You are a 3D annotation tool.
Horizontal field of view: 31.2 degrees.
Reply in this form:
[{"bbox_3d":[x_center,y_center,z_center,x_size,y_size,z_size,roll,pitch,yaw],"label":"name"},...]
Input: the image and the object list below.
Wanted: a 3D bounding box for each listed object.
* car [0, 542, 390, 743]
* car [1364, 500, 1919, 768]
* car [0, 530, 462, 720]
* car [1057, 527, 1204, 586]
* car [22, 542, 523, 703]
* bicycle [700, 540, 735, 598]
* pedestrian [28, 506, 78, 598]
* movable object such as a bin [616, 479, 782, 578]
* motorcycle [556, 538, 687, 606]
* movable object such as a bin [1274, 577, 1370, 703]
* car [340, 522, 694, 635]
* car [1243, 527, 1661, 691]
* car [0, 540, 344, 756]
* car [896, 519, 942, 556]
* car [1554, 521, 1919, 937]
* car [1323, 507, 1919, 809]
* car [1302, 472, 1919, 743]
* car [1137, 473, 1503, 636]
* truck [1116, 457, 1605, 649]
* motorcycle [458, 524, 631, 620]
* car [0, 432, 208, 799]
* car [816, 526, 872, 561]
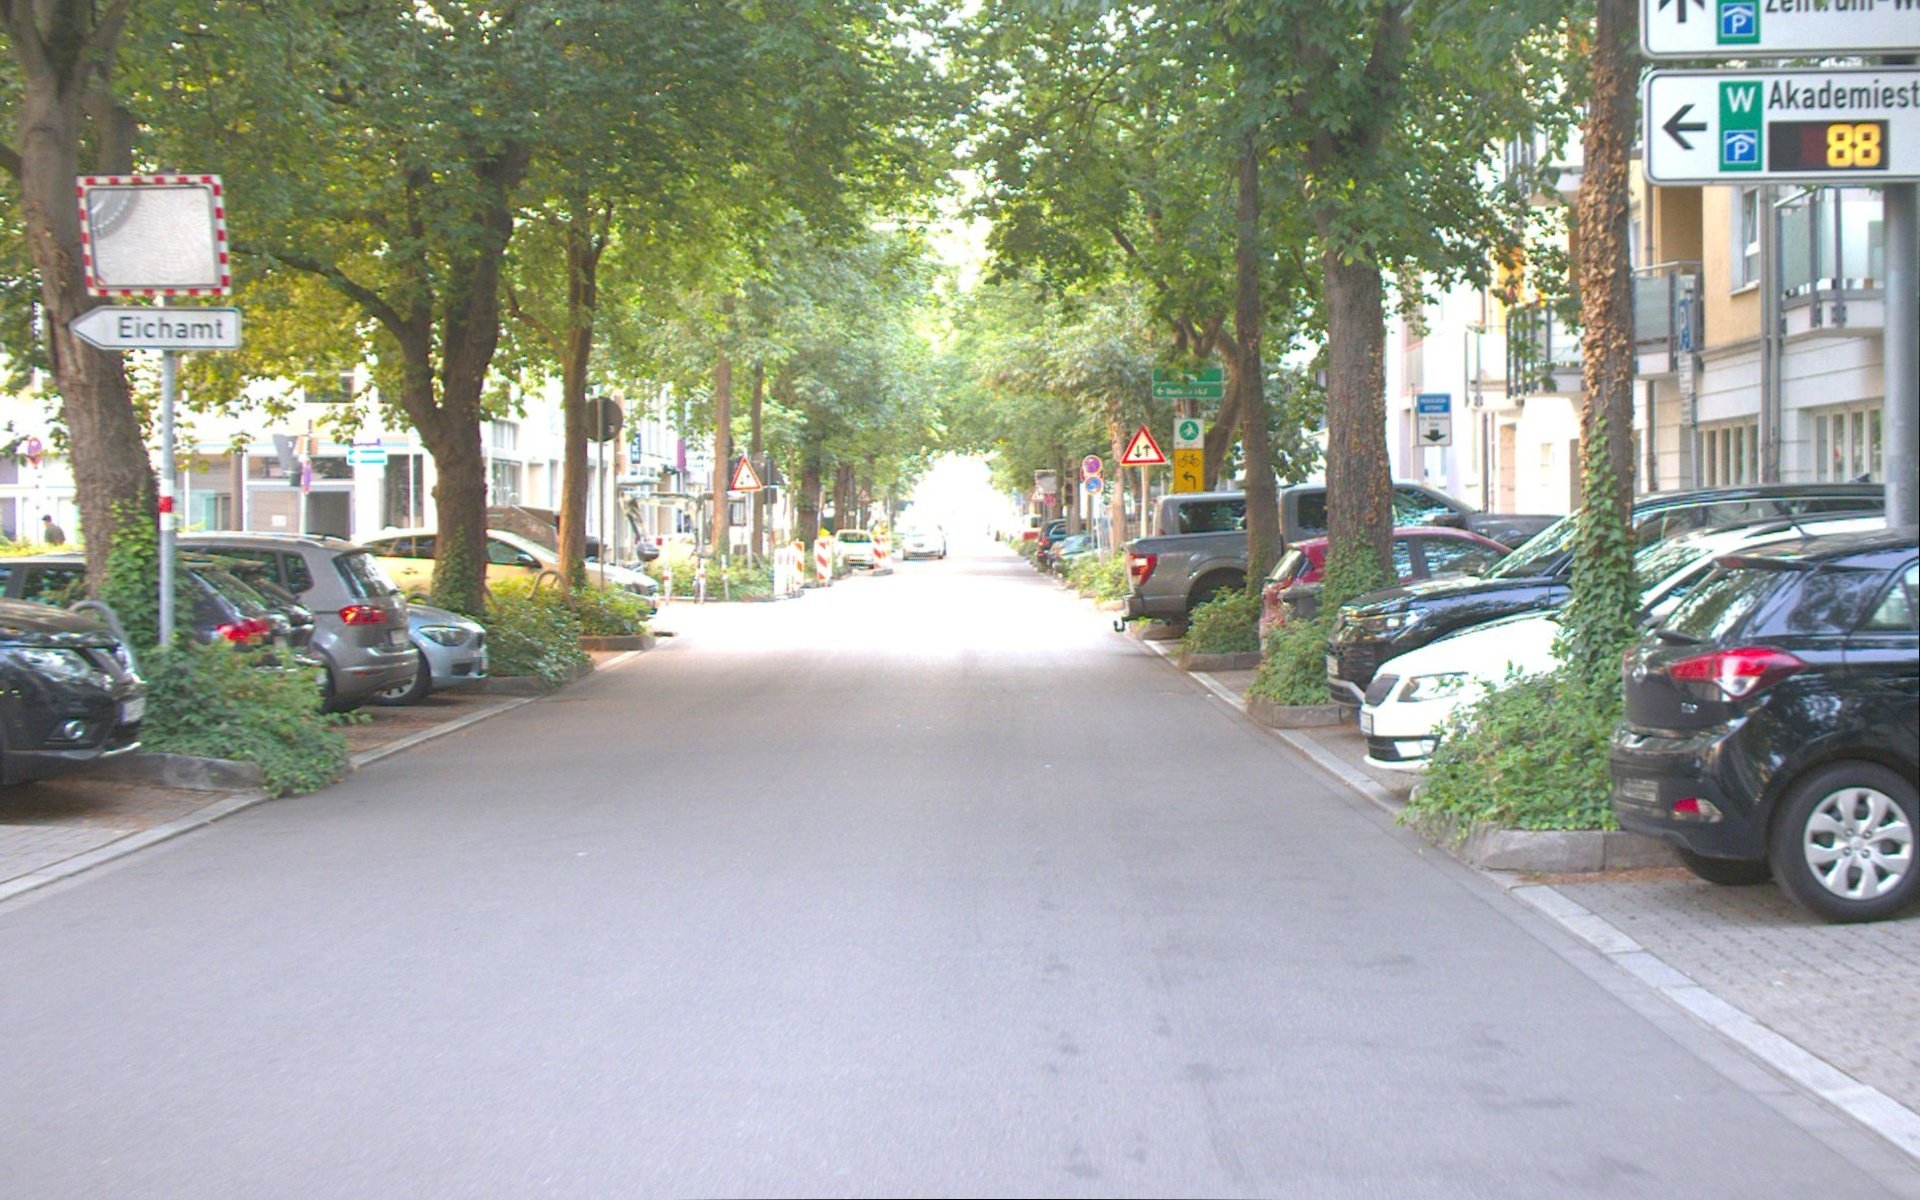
[{"bbox_3d":[-6.581,0.310,26.857,3.986,1.485,1.826,0,1,-2],"label":"car"},{"bbox_3d":[4.871,0.172,22.422,4.224,1.433,1.929,-4,1,3],"label":"car"},{"bbox_3d":[-6.467,0.189,29.519,3.988,1.560,1.929,0,1,6],"label":"car"},{"bbox_3d":[4.665,-1.208,94.467,3.987,1.579,2.000,0,1,2],"label":"car"},{"bbox_3d":[-6.361,0.192,32.147,4.287,1.425,1.879,0,1,1],"label":"car"},{"bbox_3d":[-5.028,-0.649,71.330,0.683,1.148,1.981,-1,2,-5],"label":"bicycle"},{"bbox_3d":[-18.335,-0.971,69.490,0.887,1.844,0.876,-1,1,-18],"label":"pedestrian"},{"bbox_3d":[-6.539,-1.795,85.864,4.045,2.375,2.785,-1,2,-5],"label":"movable object such as a bin"},{"bbox_3d":[-6.665,-0.556,67.738,2.350,1.277,1.067,-2,2,-40],"label":"motorcycle"},{"bbox_3d":[3.251,0.352,30.909,0.760,1.080,0.785,-2,1,2],"label":"movable object such as a bin"},{"bbox_3d":[-6.139,-0.318,48.017,4.619,1.547,2.075,0,1,3],"label":"car"},{"bbox_3d":[4.728,0.066,33.439,3.776,1.539,1.878,0,1,-1],"label":"car"},{"bbox_3d":[-6.549,0.318,24.474,3.987,1.459,1.922,0,1,-1],"label":"car"},{"bbox_3d":[-1.818,-2.783,152.873,2.009,1.607,4.120,0,1,-1],"label":"car"},{"bbox_3d":[4.679,0.375,13.821,4.082,1.446,1.935,-4,1,-5],"label":"car"},{"bbox_3d":[4.525,0.267,19.814,4.600,1.463,1.796,-3,1,0],"label":"car"},{"bbox_3d":[4.995,0.015,25.010,4.642,1.612,2.010,-4,1,-3],"label":"car"},{"bbox_3d":[4.741,-0.620,45.792,4.600,2.059,2.198,-1,1,0],"label":"car"},{"bbox_3d":[4.938,-0.592,43.046,5.888,2.303,2.212,0,1,1],"label":"truck"},{"bbox_3d":[-6.222,-0.431,51.611,2.453,1.415,0.911,0,1,3],"label":"motorcycle"},{"bbox_3d":[-6.676,0.068,19.247,4.504,1.948,2.000,0,1,-1],"label":"car"},{"bbox_3d":[-4.417,-2.173,130.942,1.993,1.284,4.001,0,1,-4],"label":"car"}]
